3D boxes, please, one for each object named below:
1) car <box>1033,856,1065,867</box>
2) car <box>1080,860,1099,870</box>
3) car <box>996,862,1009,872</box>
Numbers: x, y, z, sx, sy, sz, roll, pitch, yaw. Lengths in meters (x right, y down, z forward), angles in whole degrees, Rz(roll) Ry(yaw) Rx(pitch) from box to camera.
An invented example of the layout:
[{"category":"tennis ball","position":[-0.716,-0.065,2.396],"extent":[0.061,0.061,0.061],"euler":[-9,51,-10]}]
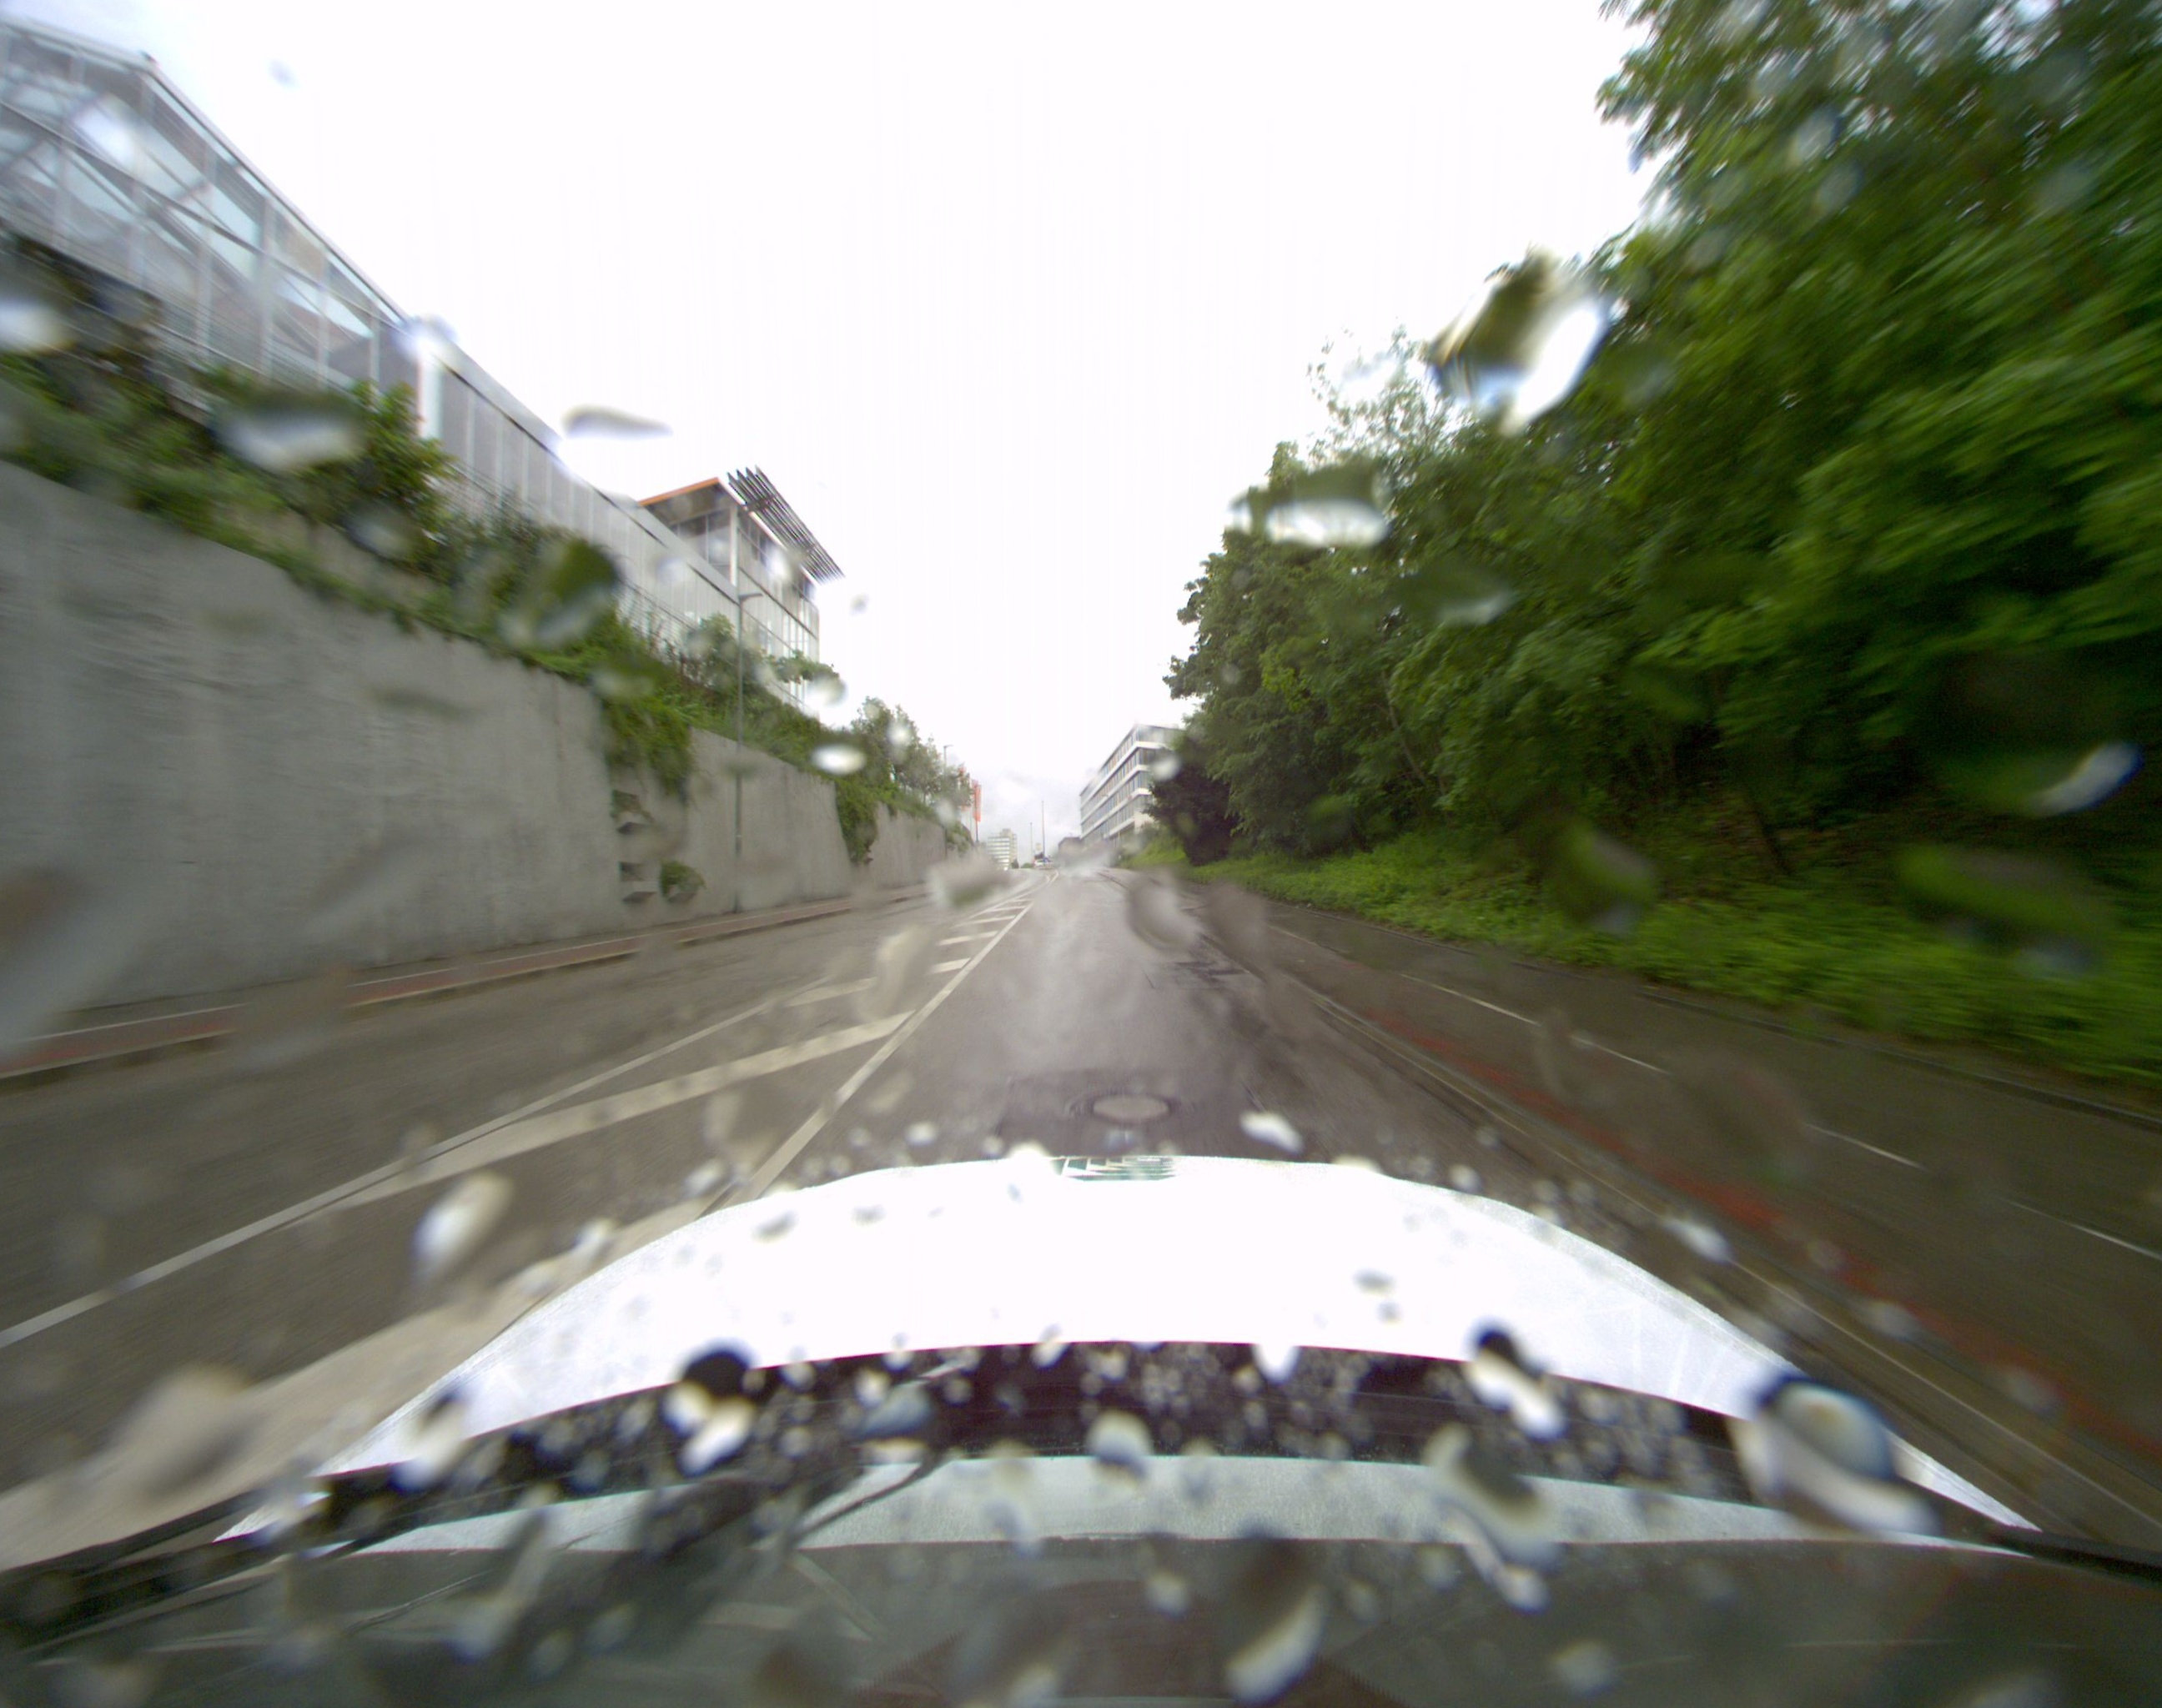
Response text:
[{"category":"car","position":[-4.281,1.004,109.522],"extent":[4.220,1.362,1.646],"euler":[0,0,1]},{"category":"car","position":[1.208,1.556,120.658],"extent":[1.796,1.409,4.196],"euler":[-2,0,-14]},{"category":"car","position":[-12.091,2.047,125.613],"extent":[1.998,1.427,4.772],"euler":[1,-1,-5]}]
